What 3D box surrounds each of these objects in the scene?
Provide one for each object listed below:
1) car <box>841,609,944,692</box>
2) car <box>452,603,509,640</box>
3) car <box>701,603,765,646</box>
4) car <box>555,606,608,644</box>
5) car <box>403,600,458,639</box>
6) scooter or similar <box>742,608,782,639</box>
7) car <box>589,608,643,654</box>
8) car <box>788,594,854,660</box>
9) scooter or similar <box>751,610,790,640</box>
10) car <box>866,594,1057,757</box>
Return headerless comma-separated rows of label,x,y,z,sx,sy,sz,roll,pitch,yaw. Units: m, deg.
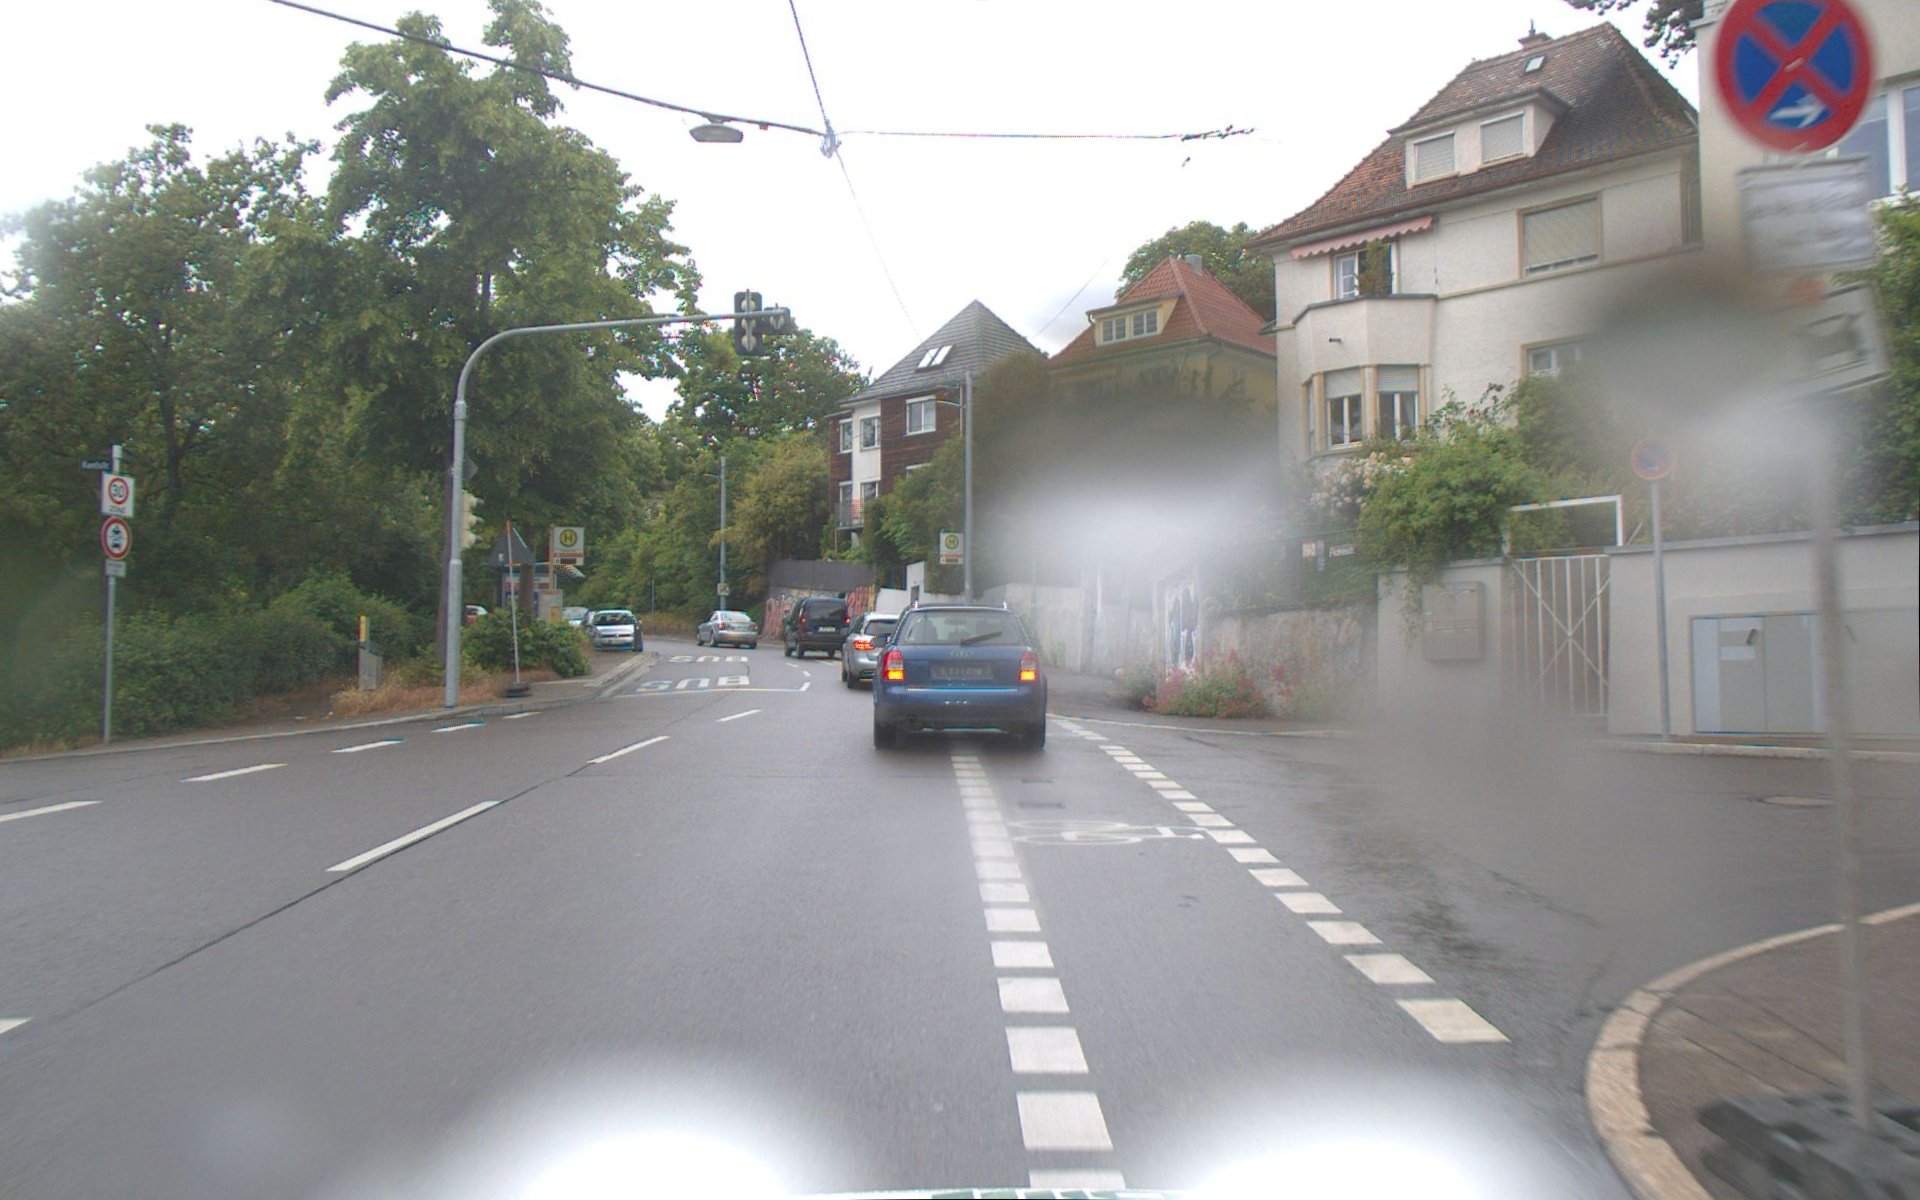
car,-1.409,0.960,33.107,1.871,1.412,4.347,3,0,-4
car,-24.427,1.086,84.204,1.971,1.758,3.963,-2,0,-28
car,-8.976,0.948,65.145,1.740,1.597,4.008,-1,0,-19
car,-15.407,0.994,67.179,1.649,1.451,3.977,-1,0,-19
car,-28.796,1.055,89.915,1.974,2.049,3.958,-1,0,-31
scooter or similar,-9.696,1.160,81.088,1.803,1.338,0.598,5,-4,-14
car,-11.681,1.009,56.016,1.645,1.451,3.985,-1,0,-14
car,-4.356,0.809,51.446,1.699,1.927,4.046,-1,0,-10
scooter or similar,-9.434,1.238,82.364,1.803,1.338,0.598,5,-4,-14
car,0.044,0.711,17.353,1.740,1.464,4.000,1,0,1
